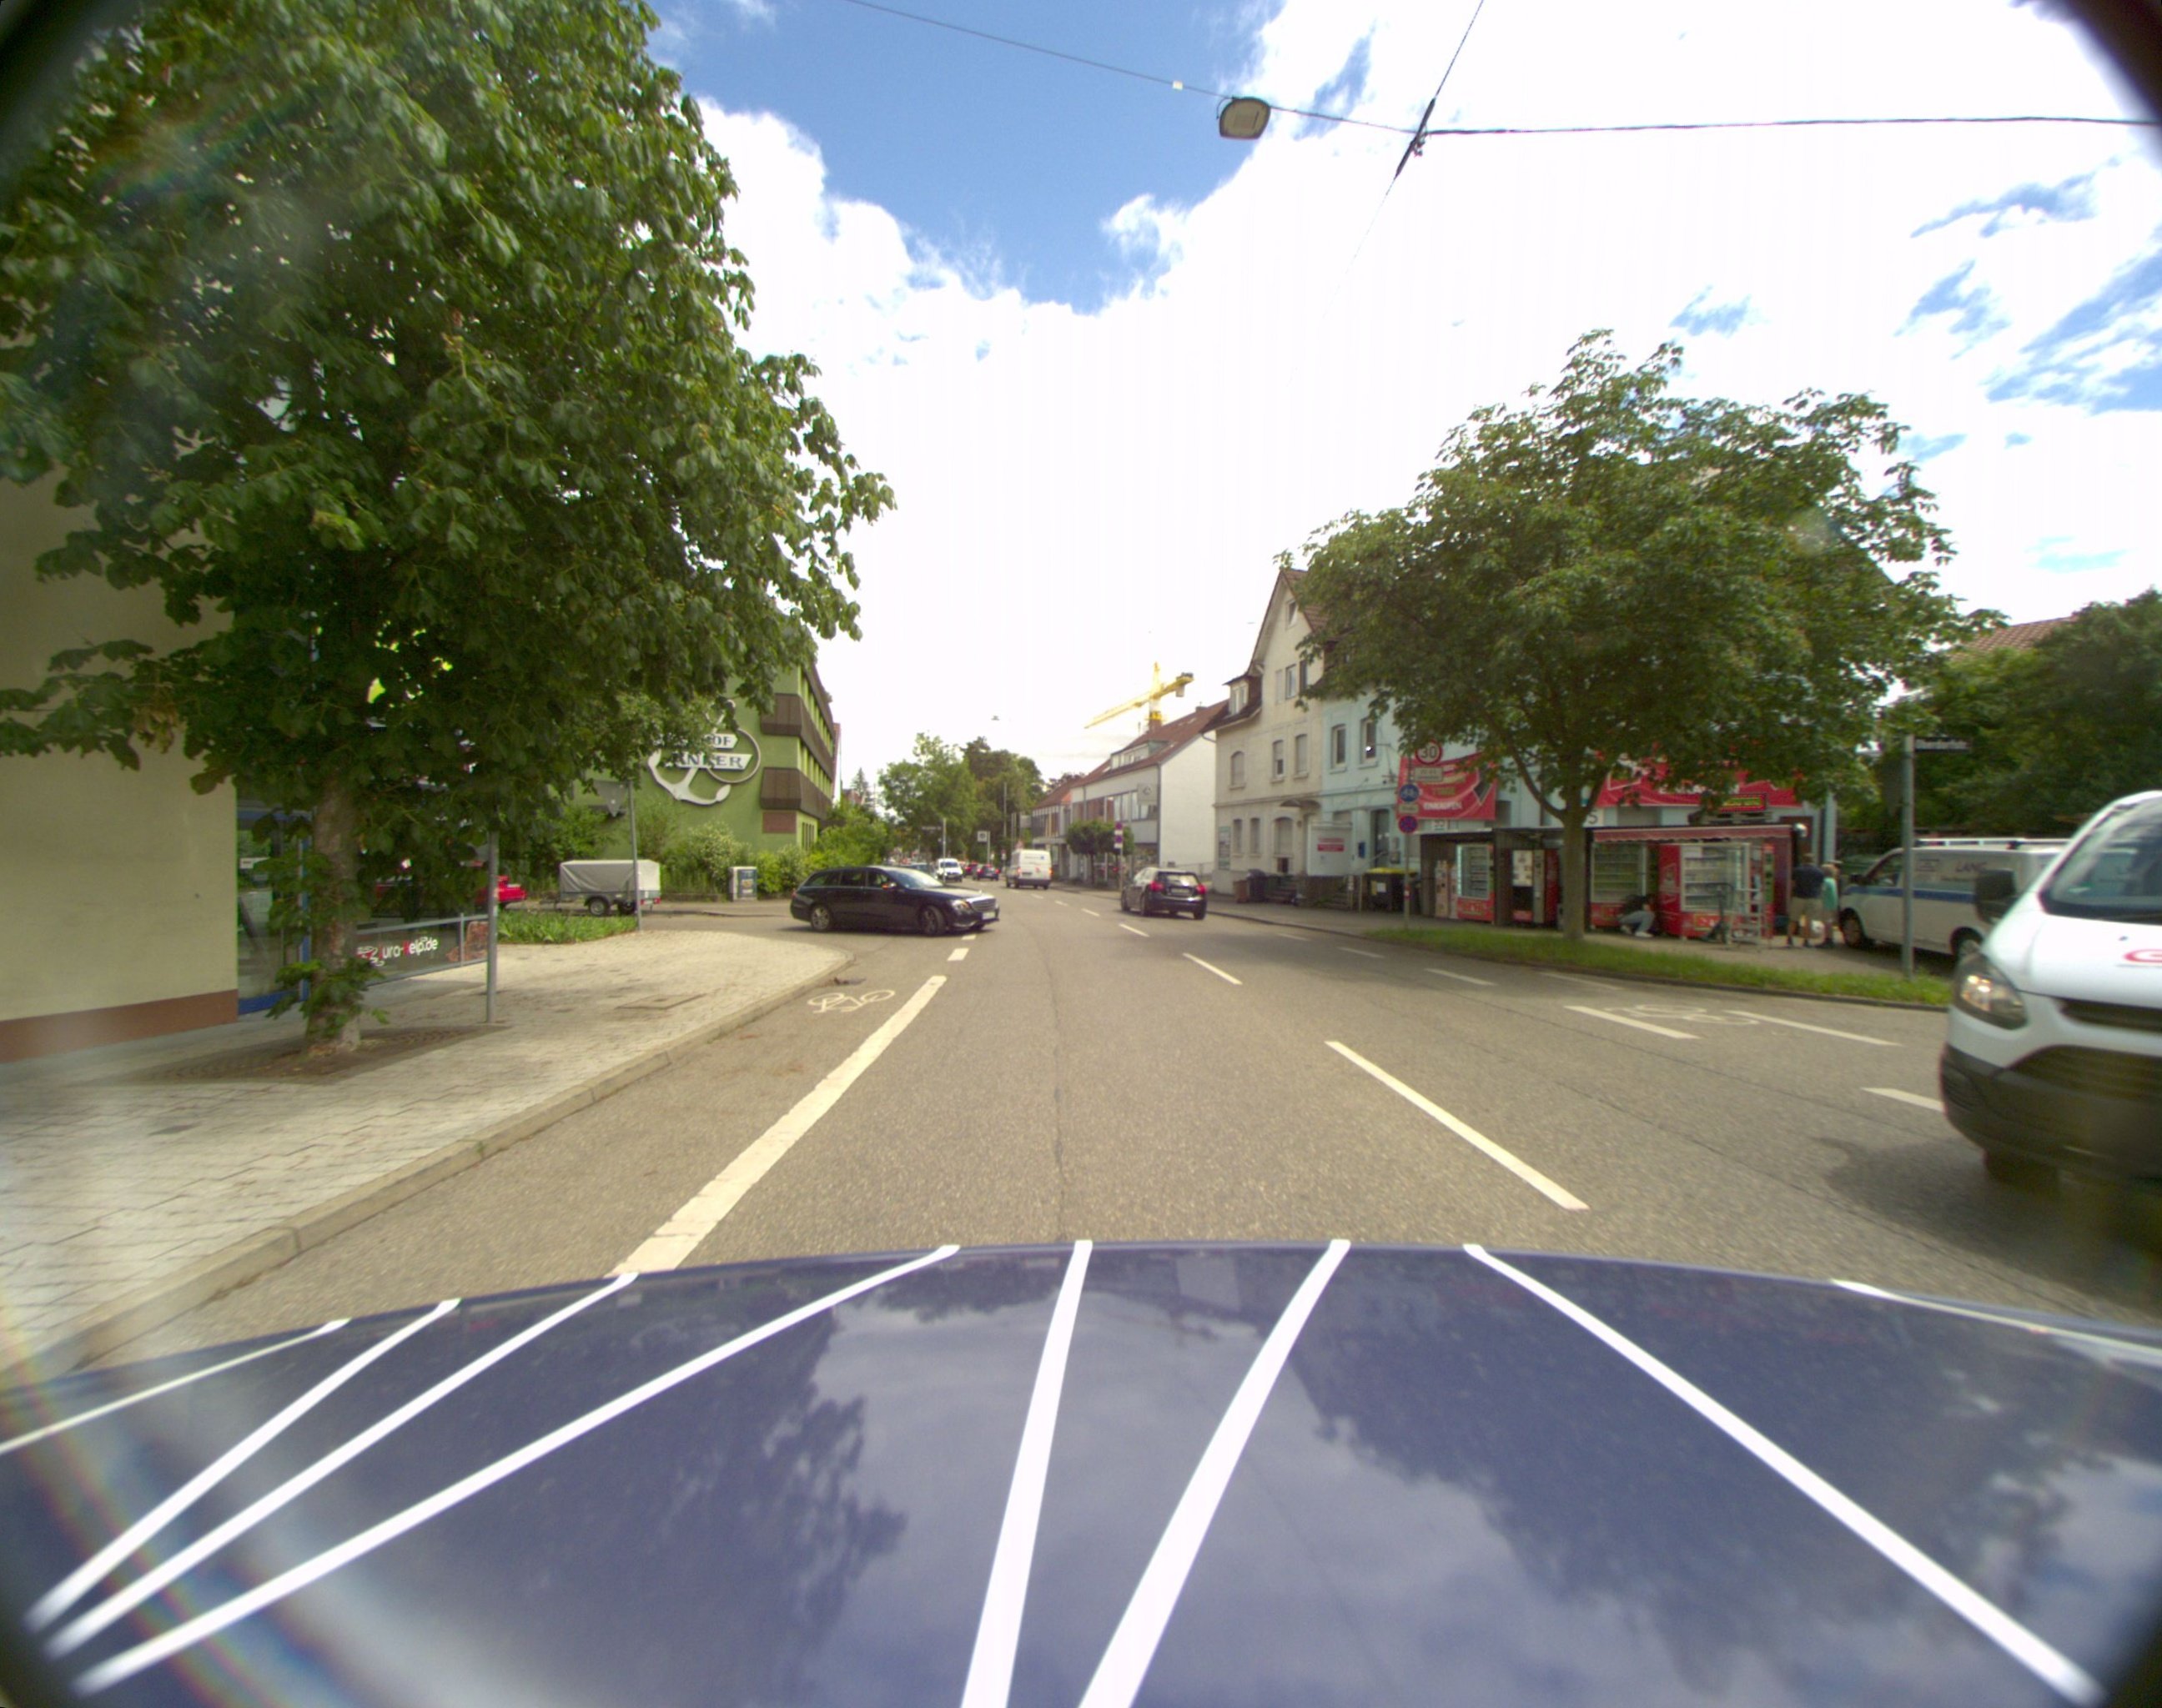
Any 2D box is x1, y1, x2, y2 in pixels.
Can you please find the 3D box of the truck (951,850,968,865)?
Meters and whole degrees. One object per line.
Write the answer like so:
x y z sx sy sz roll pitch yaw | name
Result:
-20.415 0.561 127.759 2.314 2.406 6.085 -1 1 -14 | truck

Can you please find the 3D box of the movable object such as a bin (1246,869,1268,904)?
6.682 1.236 28.882 0.567 1.266 0.562 -2 1 -19 | movable object such as a bin

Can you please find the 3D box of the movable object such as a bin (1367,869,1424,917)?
9.393 1.140 22.740 1.024 1.347 1.245 -1 1 -16 | movable object such as a bin

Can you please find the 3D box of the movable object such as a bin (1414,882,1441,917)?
9.685 1.267 21.237 0.448 0.927 0.517 -1 2 -16 | movable object such as a bin

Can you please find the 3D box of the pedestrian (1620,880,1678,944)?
12.017 1.207 16.085 0.626 1.265 0.738 -1 2 -20 | pedestrian

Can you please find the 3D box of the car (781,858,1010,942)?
-4.101 0.973 16.836 4.676 1.619 1.812 -2 1 22 | car

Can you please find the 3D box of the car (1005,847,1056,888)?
-3.171 0.817 46.827 2.071 2.339 5.176 3 -1 -15 | car

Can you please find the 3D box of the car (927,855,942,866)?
-22.828 1.020 118.051 1.873 1.608 4.529 1 -1 -15 | car

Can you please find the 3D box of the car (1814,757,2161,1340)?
6.236 0.761 3.226 5.233 1.981 2.105 2 0 -16 | car

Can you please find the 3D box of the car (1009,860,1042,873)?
-6.832 1.521 93.219 3.754 1.509 1.726 0 0 -17 | car

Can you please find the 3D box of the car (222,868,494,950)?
-14.415 1.058 15.367 3.605 1.437 1.730 -1 1 -8 | car

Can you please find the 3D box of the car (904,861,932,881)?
-13.285 1.346 61.663 1.992 1.440 4.744 1 0 -15 | car

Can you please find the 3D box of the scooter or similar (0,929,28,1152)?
-6.573 1.120 3.860 0.382 1.309 1.458 -1 1 -1 | scooter or similar

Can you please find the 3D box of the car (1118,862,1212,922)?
2.378 1.064 22.651 1.692 1.473 4.223 3 0 -8 | car

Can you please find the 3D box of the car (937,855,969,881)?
-9.950 1.014 58.822 1.968 1.796 4.422 -2 1 -15 | car

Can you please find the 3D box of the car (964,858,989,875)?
-10.230 1.192 74.275 1.783 1.514 4.455 1 1 -16 | car

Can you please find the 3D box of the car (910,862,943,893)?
-8.862 1.317 43.427 1.696 1.656 4.457 1 -1 -13 | car

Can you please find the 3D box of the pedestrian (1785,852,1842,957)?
13.560 0.911 14.065 0.626 1.885 0.563 -1 2 -26 | pedestrian

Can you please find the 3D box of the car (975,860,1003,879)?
-7.763 1.260 63.808 1.777 1.417 4.103 2 0 -15 | car

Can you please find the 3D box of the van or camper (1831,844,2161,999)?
14.263 0.845 11.991 1.786 1.982 4.385 1 1 21 | van or camper

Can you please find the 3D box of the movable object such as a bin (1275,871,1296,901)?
7.890 1.243 29.357 0.567 1.095 0.562 -2 2 -19 | movable object such as a bin

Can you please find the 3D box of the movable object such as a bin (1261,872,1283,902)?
7.324 1.269 29.125 0.567 1.095 0.562 -2 2 -19 | movable object such as a bin

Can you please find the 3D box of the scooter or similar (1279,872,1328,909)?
7.574 1.237 25.871 1.559 1.177 0.545 -1 2 -15 | scooter or similar

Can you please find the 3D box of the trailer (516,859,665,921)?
-13.560 0.970 21.136 3.167 1.572 1.393 2 0 -2 | trailer

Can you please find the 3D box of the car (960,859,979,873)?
-12.767 1.346 86.694 1.696 1.570 3.794 1 1 -16 | car

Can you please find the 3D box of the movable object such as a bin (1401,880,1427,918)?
9.532 1.279 21.750 0.434 1.034 0.517 -1 2 -16 | movable object such as a bin
